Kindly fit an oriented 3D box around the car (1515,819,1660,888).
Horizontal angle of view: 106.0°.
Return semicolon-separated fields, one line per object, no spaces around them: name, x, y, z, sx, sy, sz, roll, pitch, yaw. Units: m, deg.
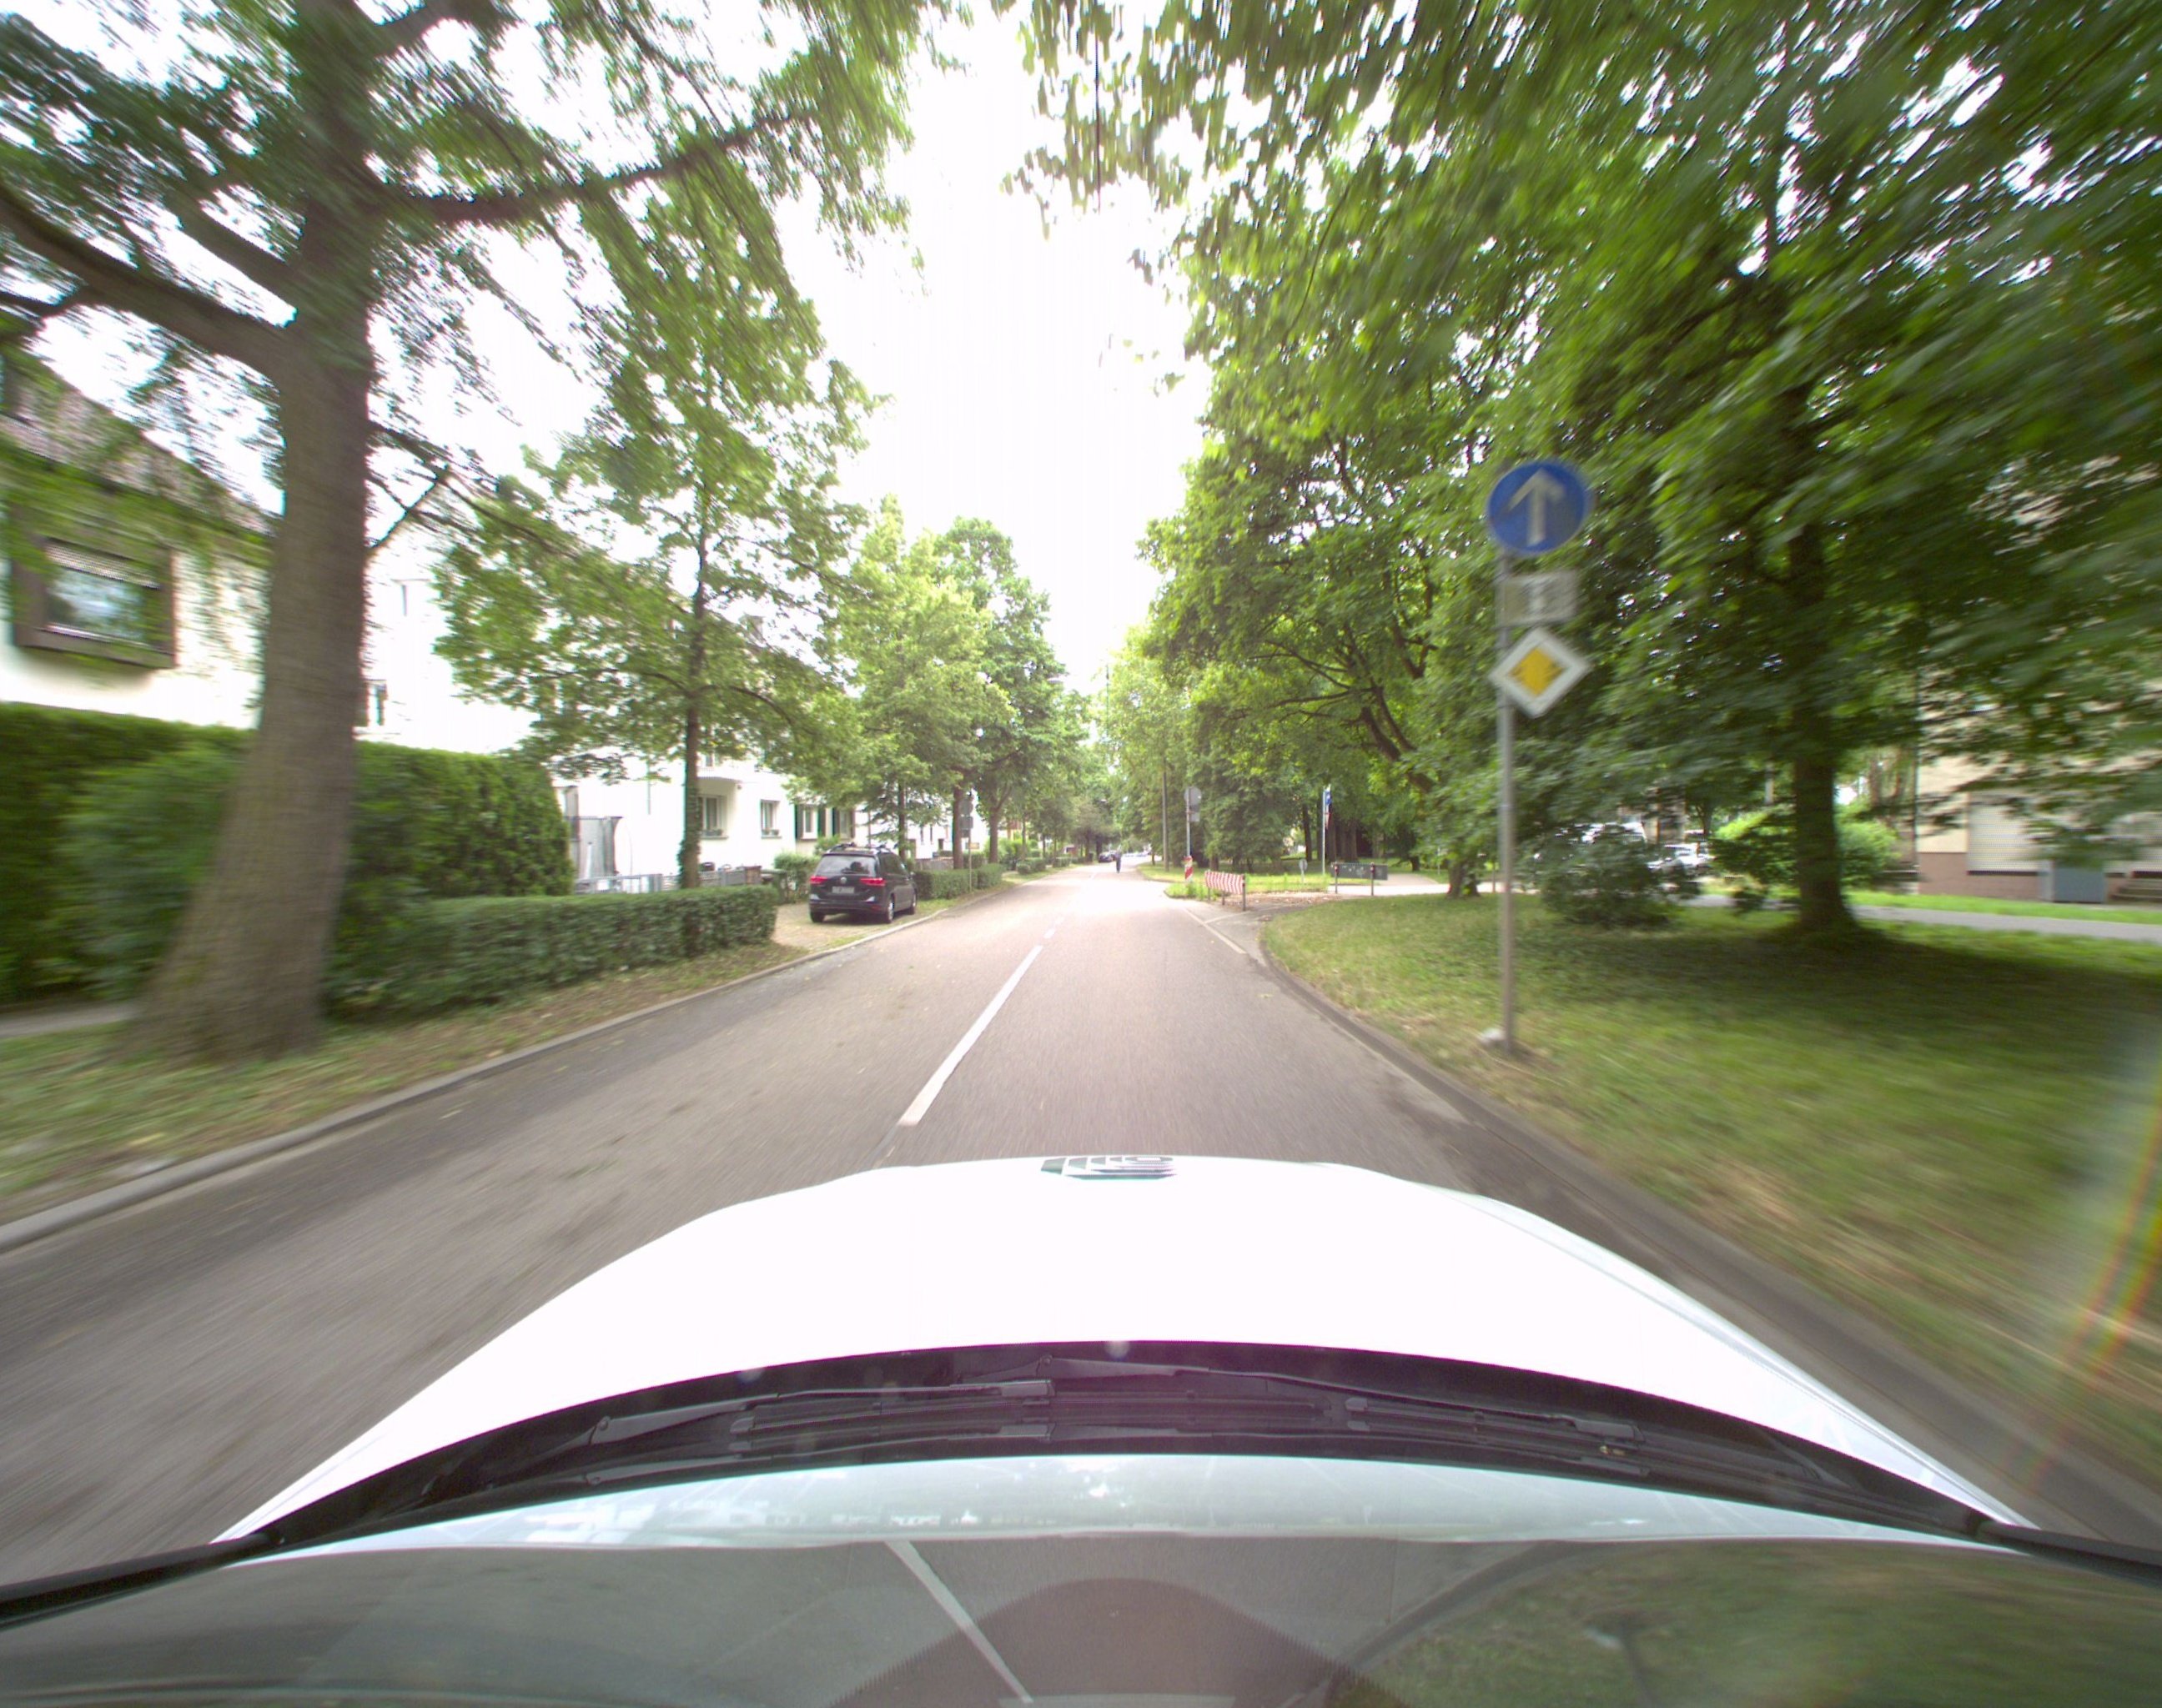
car;18.324;-0.066;29.401;5.343;2.299;2.270;-1;0;-31

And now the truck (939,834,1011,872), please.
truck;-9.089;-0.071;70.083;5.774;3.131;2.519;0;0;1

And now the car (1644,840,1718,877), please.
car;26.505;0.151;35.918;4.629;1.510;1.778;-1;1;-43

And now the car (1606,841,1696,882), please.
car;22.640;0.246;32.330;4.018;1.510;1.780;-1;1;-37

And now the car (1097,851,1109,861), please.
car;3.432;0.309;127.115;1.787;1.472;4.421;-1;0;3

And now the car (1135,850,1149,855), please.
car;17.969;-0.372;238.749;3.971;1.510;1.801;-1;0;2

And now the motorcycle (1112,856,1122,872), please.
motorcycle;2.806;0.733;62.576;0.669;1.217;1.276;1;0;6

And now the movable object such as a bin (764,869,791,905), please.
movable object such as a bin;-8.873;0.954;23.801;0.558;1.025;0.601;-1;0;-4

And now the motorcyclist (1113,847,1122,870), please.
motorcyclist;2.829;0.340;62.710;0.669;1.761;0.640;1;0;6

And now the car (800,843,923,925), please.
car;-5.117;0.631;19.616;1.820;1.754;4.451;0;0;-1

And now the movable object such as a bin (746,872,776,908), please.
movable object such as a bin;-8.833;0.984;22.486;0.558;0.940;0.640;-1;0;-4

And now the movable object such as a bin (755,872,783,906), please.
movable object such as a bin;-8.851;0.987;23.145;0.558;0.940;0.640;-1;0;-4
